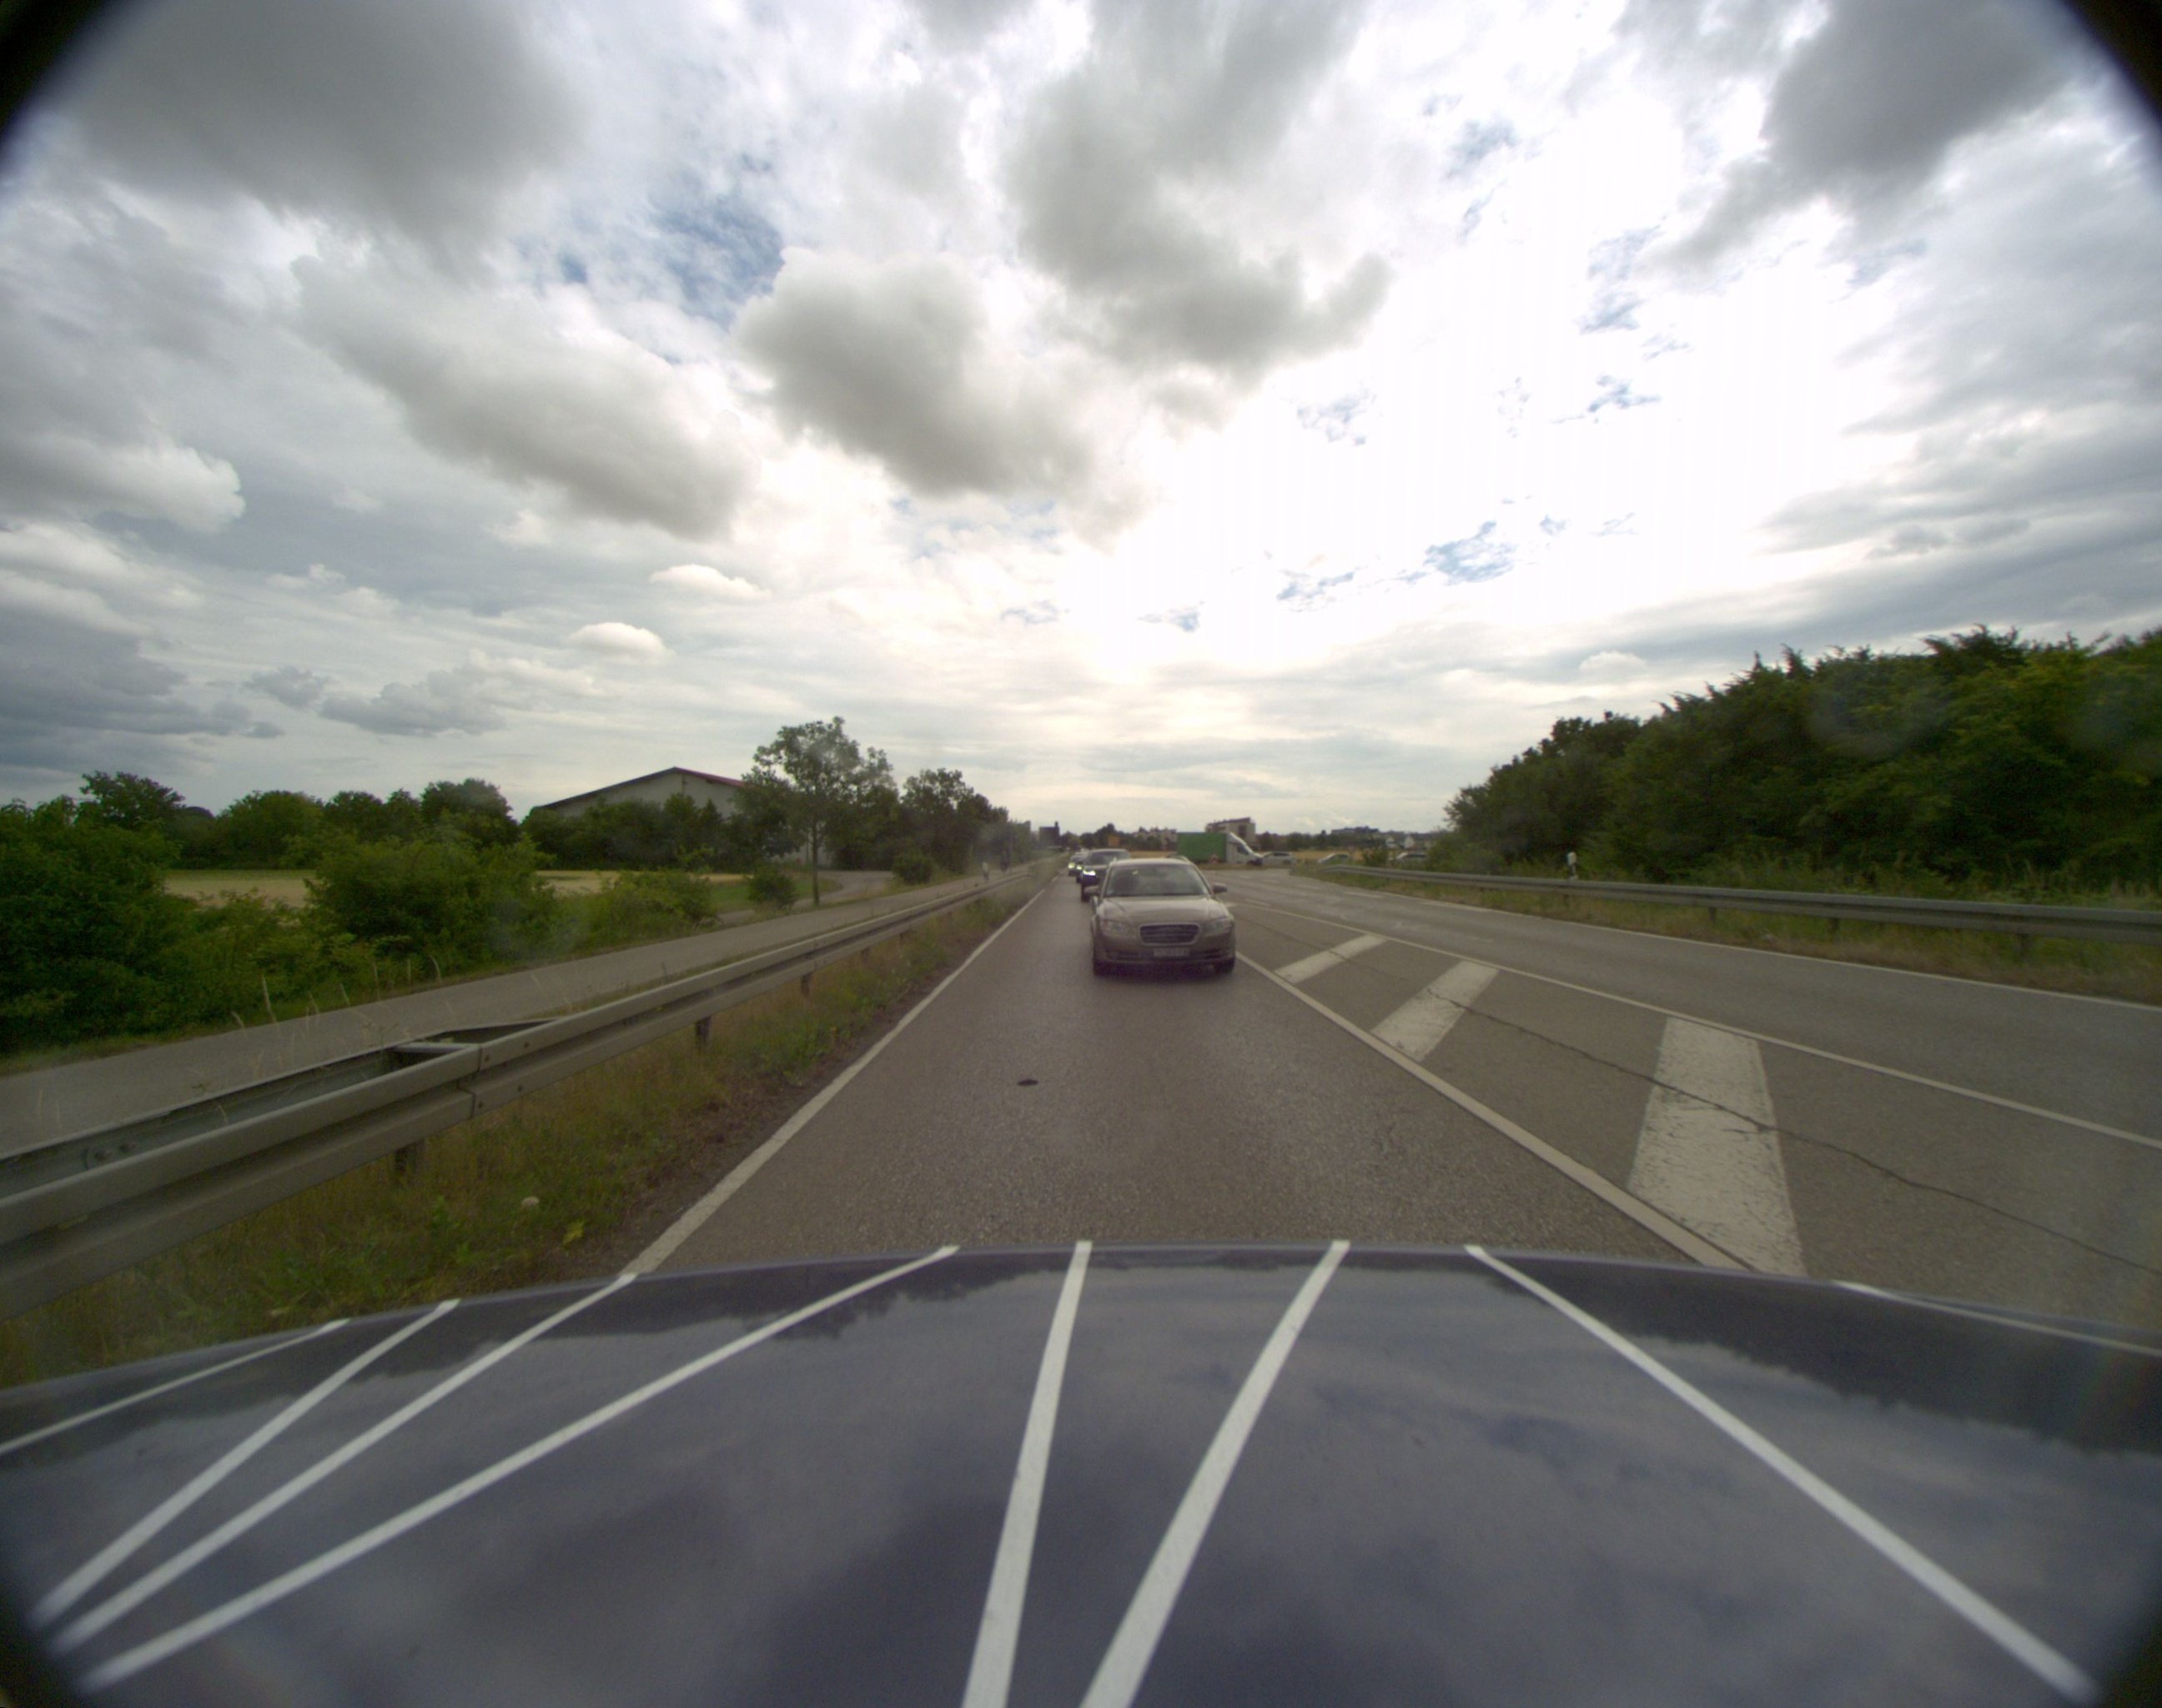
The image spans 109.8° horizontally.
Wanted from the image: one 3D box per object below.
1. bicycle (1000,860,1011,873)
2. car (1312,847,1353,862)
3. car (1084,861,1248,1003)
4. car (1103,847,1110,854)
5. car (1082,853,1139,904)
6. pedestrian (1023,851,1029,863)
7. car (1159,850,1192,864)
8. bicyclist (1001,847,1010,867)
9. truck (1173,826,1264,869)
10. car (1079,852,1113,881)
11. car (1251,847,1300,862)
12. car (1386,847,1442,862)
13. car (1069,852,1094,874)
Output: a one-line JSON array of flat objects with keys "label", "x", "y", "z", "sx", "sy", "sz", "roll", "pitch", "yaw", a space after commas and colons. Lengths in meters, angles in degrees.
[{"label": "bicycle", "x": -5.987, "y": 0.967, "z": 60.278, "sx": 0.640, "sy": 0.972, "sz": 2.072, "roll": -1, "pitch": 1, "yaw": 0}, {"label": "car", "x": 25.190, "y": 0.025, "z": 76.222, "sx": 3.714, "sy": 1.490, "sz": 1.731, "roll": -1, "pitch": 1, "yaw": 7}, {"label": "car", "x": 0.934, "y": 0.862, "z": 10.353, "sx": 1.730, "sy": 1.436, "sz": 4.203, "roll": -1, "pitch": 0, "yaw": 0}, {"label": "car", "x": 8.476, "y": -1.185, "z": 253.221, "sx": 1.998, "sy": 2.002, "sz": 3.999, "roll": -2, "pitch": 1, "yaw": 1}, {"label": "car", "x": 0.927, "y": 0.755, "z": 25.649, "sx": 1.730, "sy": 1.534, "sz": 4.203, "roll": -1, "pitch": 0, "yaw": 0}, {"label": "pedestrian", "x": -7.133, "y": 0.361, "z": 98.838, "sx": 0.592, "sy": 1.512, "sz": 0.501, "roll": -2, "pitch": 1, "yaw": 7}, {"label": "car", "x": 10.335, "y": 0.298, "z": 83.479, "sx": 2.002, "sy": 1.481, "sz": 3.831, "roll": -1, "pitch": 1, "yaw": -20}, {"label": "bicyclist", "x": -5.990, "y": 0.260, "z": 60.323, "sx": 0.640, "sy": 1.573, "sz": 0.969, "roll": -1, "pitch": 1, "yaw": 0}, {"label": "truck", "x": 12.380, "y": -0.592, "z": 68.486, "sx": 7.589, "sy": 3.542, "sz": 2.937, "roll": -2, "pitch": 1, "yaw": 19}, {"label": "car", "x": 0.797, "y": 0.650, "z": 41.485, "sx": 1.730, "sy": 1.478, "sz": 4.203, "roll": -1, "pitch": 0, "yaw": 0}, {"label": "car", "x": 19.704, "y": 0.068, "z": 77.170, "sx": 4.673, "sy": 1.490, "sz": 2.001, "roll": -1, "pitch": 1, "yaw": 7}, {"label": "car", "x": 32.939, "y": 0.035, "z": 75.281, "sx": 4.672, "sy": 1.490, "sz": 2.001, "roll": -1, "pitch": 1, "yaw": 9}, {"label": "car", "x": 0.048, "y": 0.629, "z": 55.187, "sx": 1.730, "sy": 1.436, "sz": 4.203, "roll": -1, "pitch": 0, "yaw": 0}]
